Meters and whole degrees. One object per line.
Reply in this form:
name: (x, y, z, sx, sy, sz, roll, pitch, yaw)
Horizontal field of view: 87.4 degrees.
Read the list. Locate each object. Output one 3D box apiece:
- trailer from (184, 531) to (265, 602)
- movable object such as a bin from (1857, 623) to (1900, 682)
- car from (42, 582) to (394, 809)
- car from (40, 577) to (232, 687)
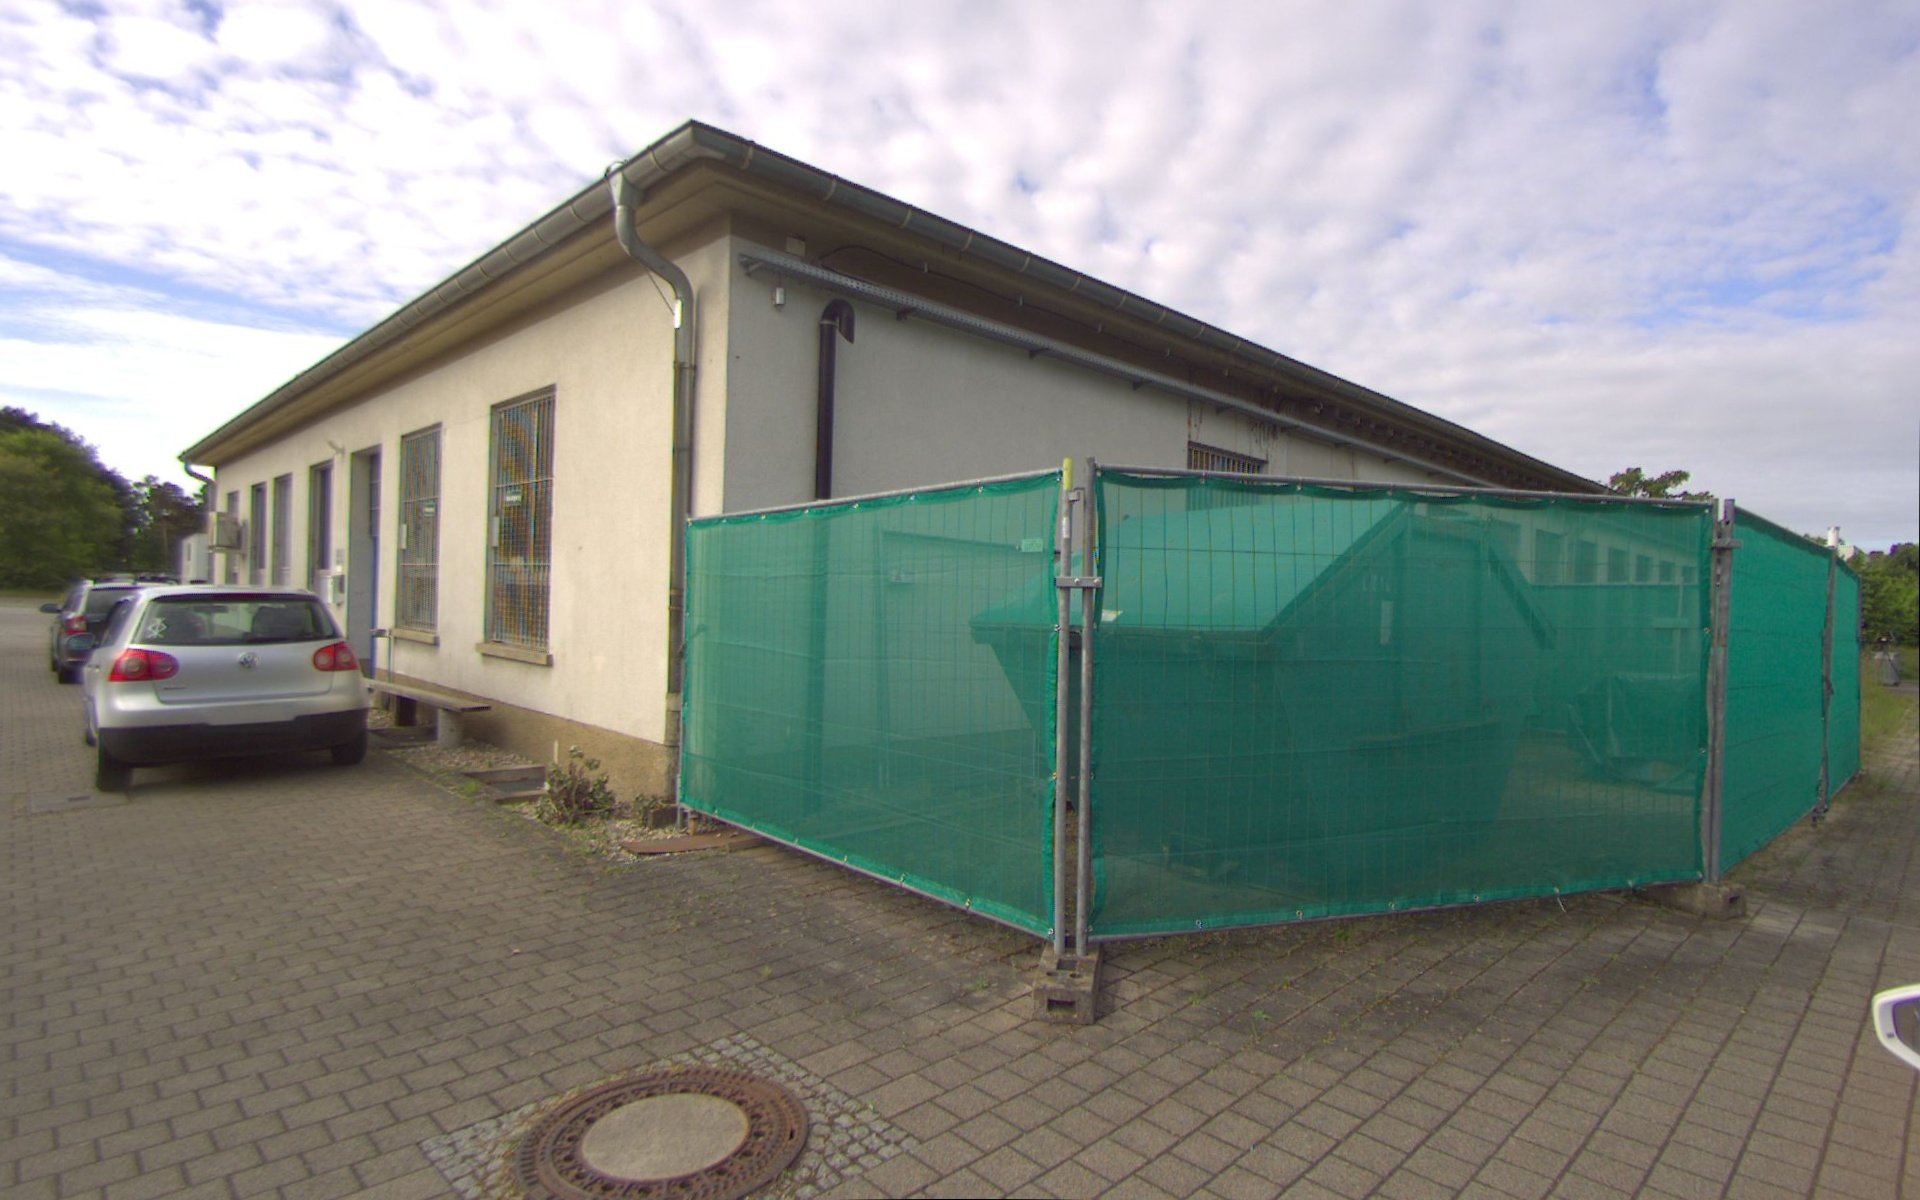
trailer: (-42.938, -1.867, 58.479, 2.856, 3.711, 10.646, 2, 0, -41)
movable object such as a bin: (32.310, 1.838, 35.345, 0.845, 2.008, 0.929, 2, 0, -35)
car: (-6.677, 0.605, 8.834, 1.918, 1.458, 4.309, 0, 1, -45)
car: (-13.217, 0.420, 15.997, 1.918, 1.480, 4.747, 2, 0, -45)
